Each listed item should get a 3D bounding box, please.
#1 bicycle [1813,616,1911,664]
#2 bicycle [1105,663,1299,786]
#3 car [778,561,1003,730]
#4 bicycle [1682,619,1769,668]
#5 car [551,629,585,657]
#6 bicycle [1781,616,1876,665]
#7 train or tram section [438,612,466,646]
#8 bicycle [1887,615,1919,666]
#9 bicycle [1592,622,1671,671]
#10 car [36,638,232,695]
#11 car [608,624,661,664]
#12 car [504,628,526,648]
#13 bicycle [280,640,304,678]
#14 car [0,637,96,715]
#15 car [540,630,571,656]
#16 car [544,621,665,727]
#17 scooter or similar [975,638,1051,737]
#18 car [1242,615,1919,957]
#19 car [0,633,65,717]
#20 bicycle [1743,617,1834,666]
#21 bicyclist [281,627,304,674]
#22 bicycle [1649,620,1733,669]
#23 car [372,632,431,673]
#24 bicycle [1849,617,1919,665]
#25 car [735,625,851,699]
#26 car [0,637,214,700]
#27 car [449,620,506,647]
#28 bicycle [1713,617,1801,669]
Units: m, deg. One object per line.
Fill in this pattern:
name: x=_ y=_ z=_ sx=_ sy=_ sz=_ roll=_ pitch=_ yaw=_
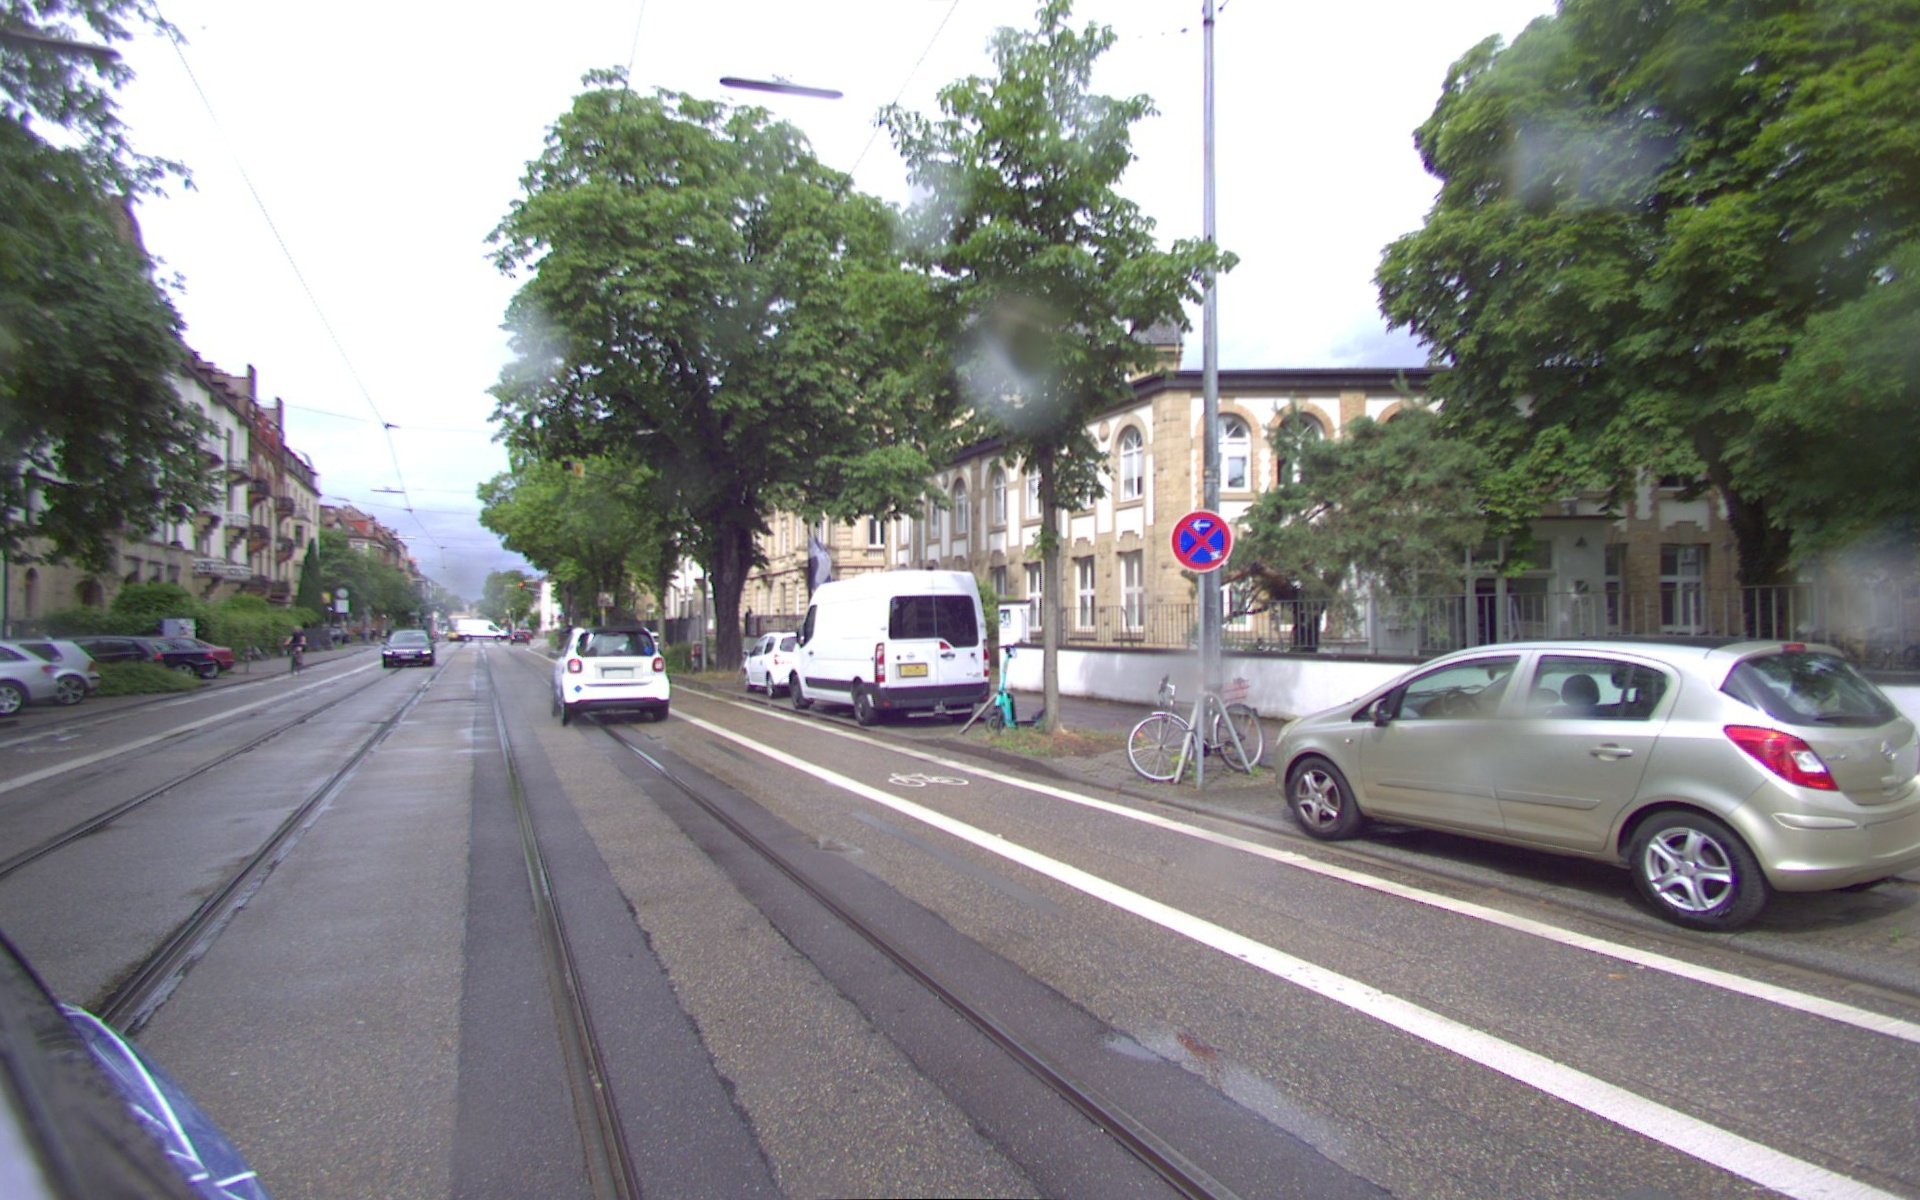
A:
bicycle: x=21.801 y=0.971 z=24.523 sx=0.609 sy=1.124 sz=1.925 roll=-1 pitch=-2 yaw=1
bicycle: x=2.472 y=1.224 z=10.287 sx=1.895 sy=0.994 sz=0.687 roll=-3 pitch=1 yaw=-27
car: x=-1.465 y=0.751 z=18.128 sx=2.103 sy=2.529 sz=5.290 roll=-2 pitch=-1 yaw=-26
bicycle: x=18.610 y=1.065 z=24.659 sx=0.609 sy=1.124 sz=1.925 roll=-1 pitch=-2 yaw=1
car: x=-26.537 y=2.879 z=68.500 sx=1.728 sy=1.688 sz=4.132 roll=-1 pitch=0 yaw=-27
bicycle: x=21.084 y=0.994 z=24.629 sx=0.609 sy=1.124 sz=1.925 roll=-1 pitch=-2 yaw=1
train or tram section: x=-62.797 y=3.502 z=125.268 sx=2.971 sy=3.902 sz=9.605 roll=-1 pitch=0 yaw=-26
bicycle: x=23.665 y=0.968 z=24.523 sx=0.609 sy=1.234 sz=1.925 roll=-1 pitch=-2 yaw=1
bicycle: x=16.222 y=1.113 z=24.511 sx=0.609 sy=1.124 sz=1.925 roll=-1 pitch=-2 yaw=1
car: x=-25.784 y=2.016 z=31.776 sx=1.896 sy=1.463 sz=4.400 roll=-2 pitch=0 yaw=27
car: x=-14.092 y=1.861 z=43.721 sx=1.764 sy=1.509 sz=4.043 roll=-1 pitch=0 yaw=-23
car: x=-45.039 y=3.849 z=102.420 sx=1.815 sy=1.900 sz=3.937 roll=-1 pitch=0 yaw=-21
bicycle: x=-24.170 y=2.116 z=36.643 sx=0.634 sy=1.275 sz=1.874 roll=-1 pitch=0 yaw=-31
car: x=-20.042 y=1.567 z=19.853 sx=1.891 sy=1.463 sz=4.343 roll=-2 pitch=0 yaw=20
car: x=-31.054 y=3.258 z=77.597 sx=1.834 sy=1.766 sz=4.132 roll=-1 pitch=0 yaw=-27
car: x=-5.924 y=1.134 z=16.710 sx=1.587 sy=1.526 sz=2.616 roll=-1 pitch=0 yaw=-26
scooter or similar: x=0.732 y=1.173 z=13.846 sx=0.426 sy=1.287 sz=1.133 roll=-5 pitch=-4 yaw=38
car: x=3.834 y=0.889 z=6.596 sx=1.661 sy=1.471 sz=3.845 roll=-1 pitch=-1 yaw=-26
car: x=-18.451 y=1.396 z=17.300 sx=1.871 sy=1.463 sz=4.366 roll=-2 pitch=0 yaw=20
bicycle: x=20.092 y=1.008 z=24.597 sx=0.609 sy=1.124 sz=1.925 roll=-1 pitch=-2 yaw=1
bicyclist: x=-24.158 y=1.818 z=36.627 sx=0.634 sy=1.629 sz=0.676 roll=-1 pitch=0 yaw=-31
bicycle: x=17.643 y=1.072 z=24.474 sx=0.609 sy=1.124 sz=1.925 roll=-1 pitch=-2 yaw=1
car: x=-22.927 y=2.093 z=41.656 sx=1.965 sy=1.492 sz=4.779 roll=-1 pitch=-1 yaw=-27
bicycle: x=22.749 y=0.980 z=24.561 sx=0.609 sy=1.124 sz=1.925 roll=-1 pitch=-2 yaw=1
car: x=-4.022 y=1.430 z=23.979 sx=1.881 sy=1.562 sz=3.381 roll=-1 pitch=-2 yaw=-24
car: x=-24.303 y=1.895 z=28.956 sx=1.896 sy=1.463 sz=4.400 roll=-2 pitch=0 yaw=27
car: x=-55.753 y=3.866 z=117.025 sx=5.625 sy=2.852 sz=2.764 roll=-1 pitch=0 yaw=-19
bicycle: x=19.300 y=1.016 z=24.566 sx=0.609 sy=1.186 sz=1.925 roll=-1 pitch=-1 yaw=1
